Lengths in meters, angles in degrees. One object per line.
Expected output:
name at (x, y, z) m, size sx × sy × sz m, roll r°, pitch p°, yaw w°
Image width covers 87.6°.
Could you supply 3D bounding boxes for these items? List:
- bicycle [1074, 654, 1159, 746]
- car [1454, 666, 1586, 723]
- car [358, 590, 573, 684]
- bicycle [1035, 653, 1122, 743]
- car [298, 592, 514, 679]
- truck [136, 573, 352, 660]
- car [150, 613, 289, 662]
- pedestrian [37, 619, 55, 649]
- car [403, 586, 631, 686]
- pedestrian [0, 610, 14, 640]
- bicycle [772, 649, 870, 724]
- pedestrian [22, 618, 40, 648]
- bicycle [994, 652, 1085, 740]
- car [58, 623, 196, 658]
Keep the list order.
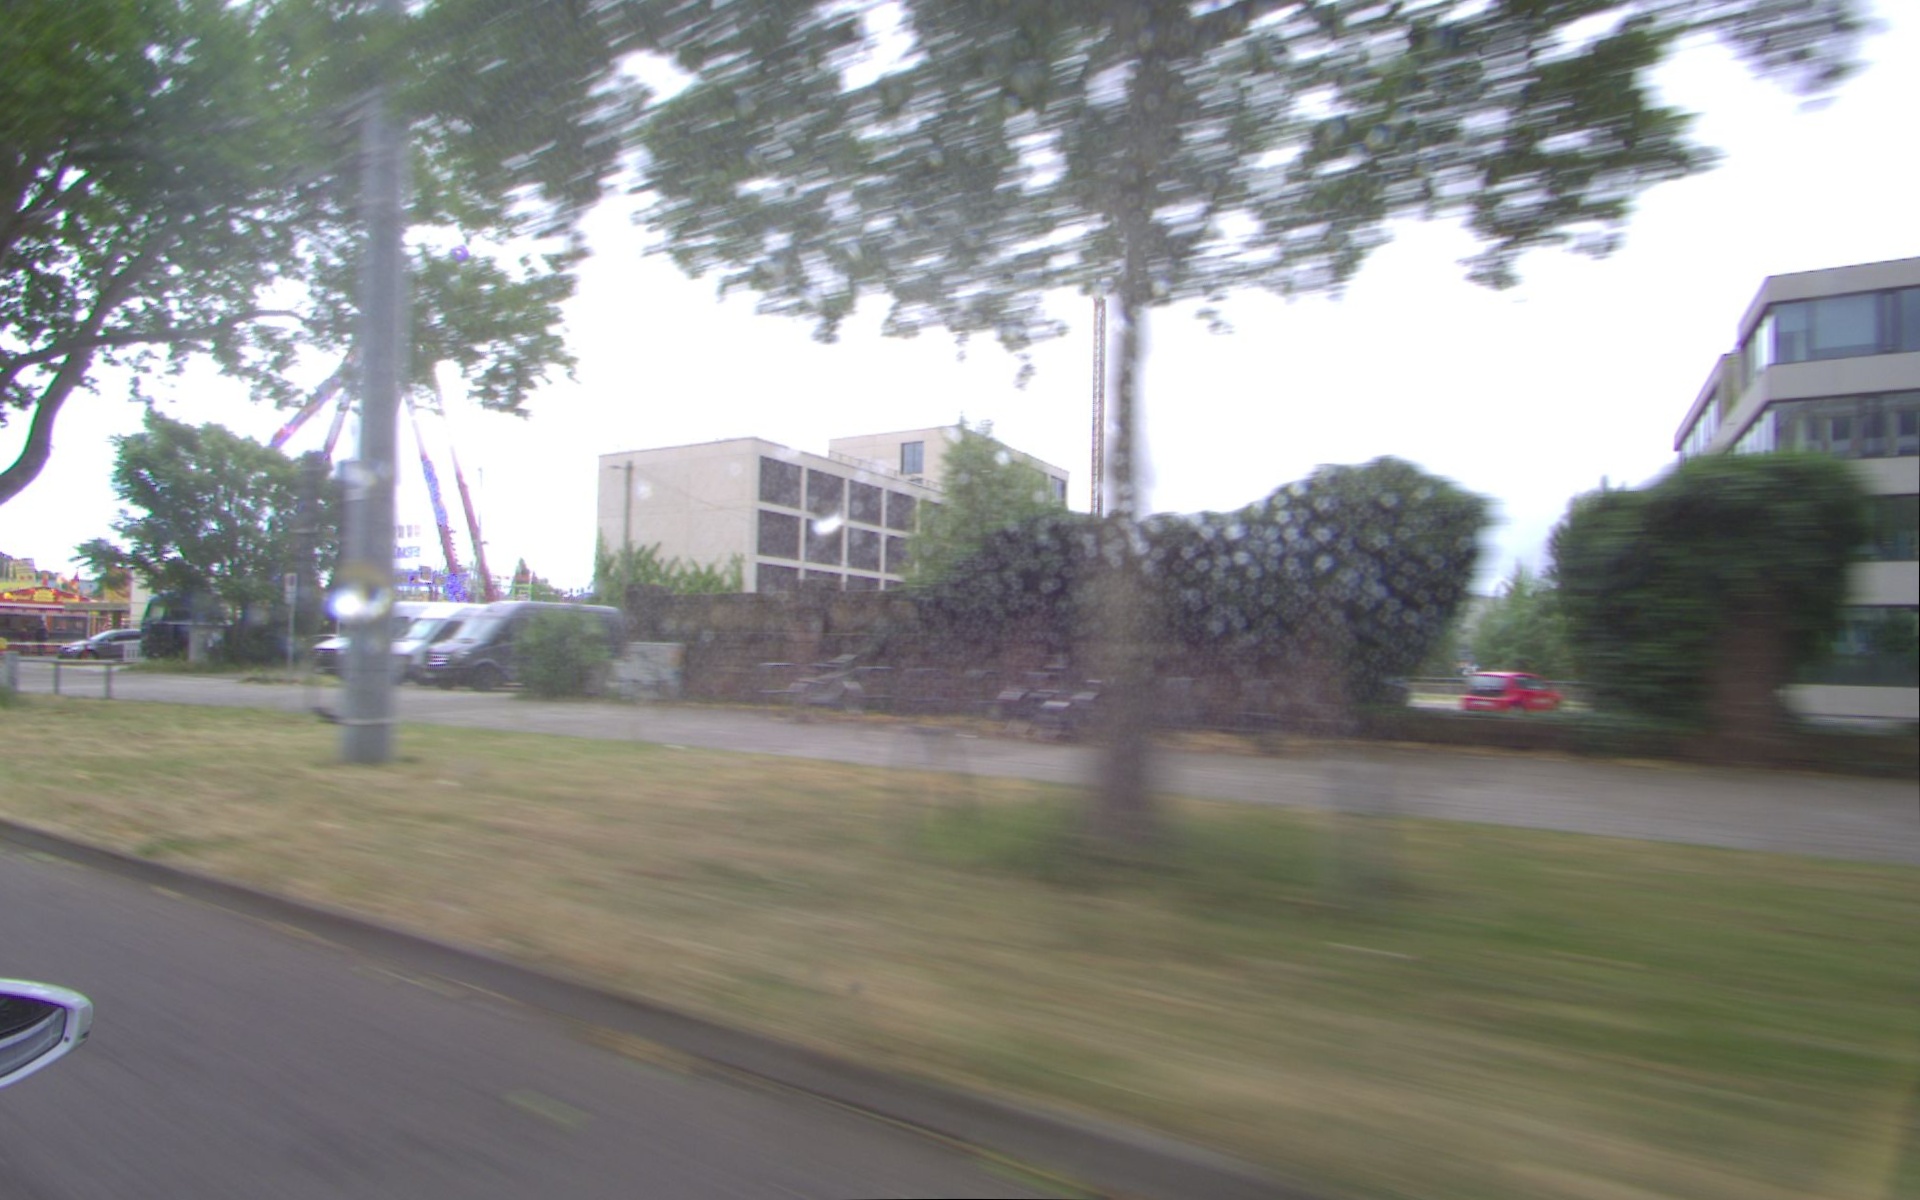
bicycle at (2.164, 1.316, 13.637) m, size 0.541 × 1.119 × 1.888 m, roll 0°, pitch -1°, yaw 29°
car at (17.843, 2.962, 31.853) m, size 4.357 × 1.638 × 1.987 m, roll 3°, pitch -3°, yaw -35°
car at (-15.253, 1.259, 31.332) m, size 2.009 × 2.565 × 5.785 m, roll 0°, pitch -5°, yaw 30°
bicycle at (1.680, 1.320, 13.941) m, size 0.541 × 1.111 × 1.899 m, roll 0°, pitch -1°, yaw 29°
car at (-18.050, 1.217, 33.063) m, size 2.068 × 2.587 × 6.021 m, roll 0°, pitch -3°, yaw 29°
truck at (-34.499, 0.970, 48.704) m, size 2.561 × 3.870 × 8.187 m, roll 0°, pitch -3°, yaw 29°
car at (-32.903, 1.673, 44.648) m, size 1.969 × 2.039 × 4.570 m, roll 1°, pitch -1°, yaw 29°
pedestrian at (-52.521, 1.934, 57.520) m, size 0.485 × 1.708 × 0.523 m, roll 0°, pitch -2°, yaw 15°
car at (-12.770, 1.148, 29.335) m, size 2.140 × 2.552 × 5.780 m, roll 0°, pitch -5°, yaw 33°
pedestrian at (-55.367, 1.455, 58.127) m, size 0.515 × 1.708 × 0.492 m, roll 0°, pitch -2°, yaw 28°
bicycle at (-2.213, 1.363, 16.224) m, size 0.541 × 1.105 × 1.920 m, roll 0°, pitch -1°, yaw 29°
pedestrian at (-52.569, 1.883, 56.683) m, size 0.485 × 1.708 × 0.523 m, roll 0°, pitch -2°, yaw 15°
bicycle at (1.172, 1.331, 14.319) m, size 0.541 × 1.109 × 1.973 m, roll 0°, pitch -1°, yaw 29°
car at (-39.018, 1.929, 47.034) m, size 1.970 × 1.595 × 4.571 m, roll 0°, pitch -3°, yaw 29°
